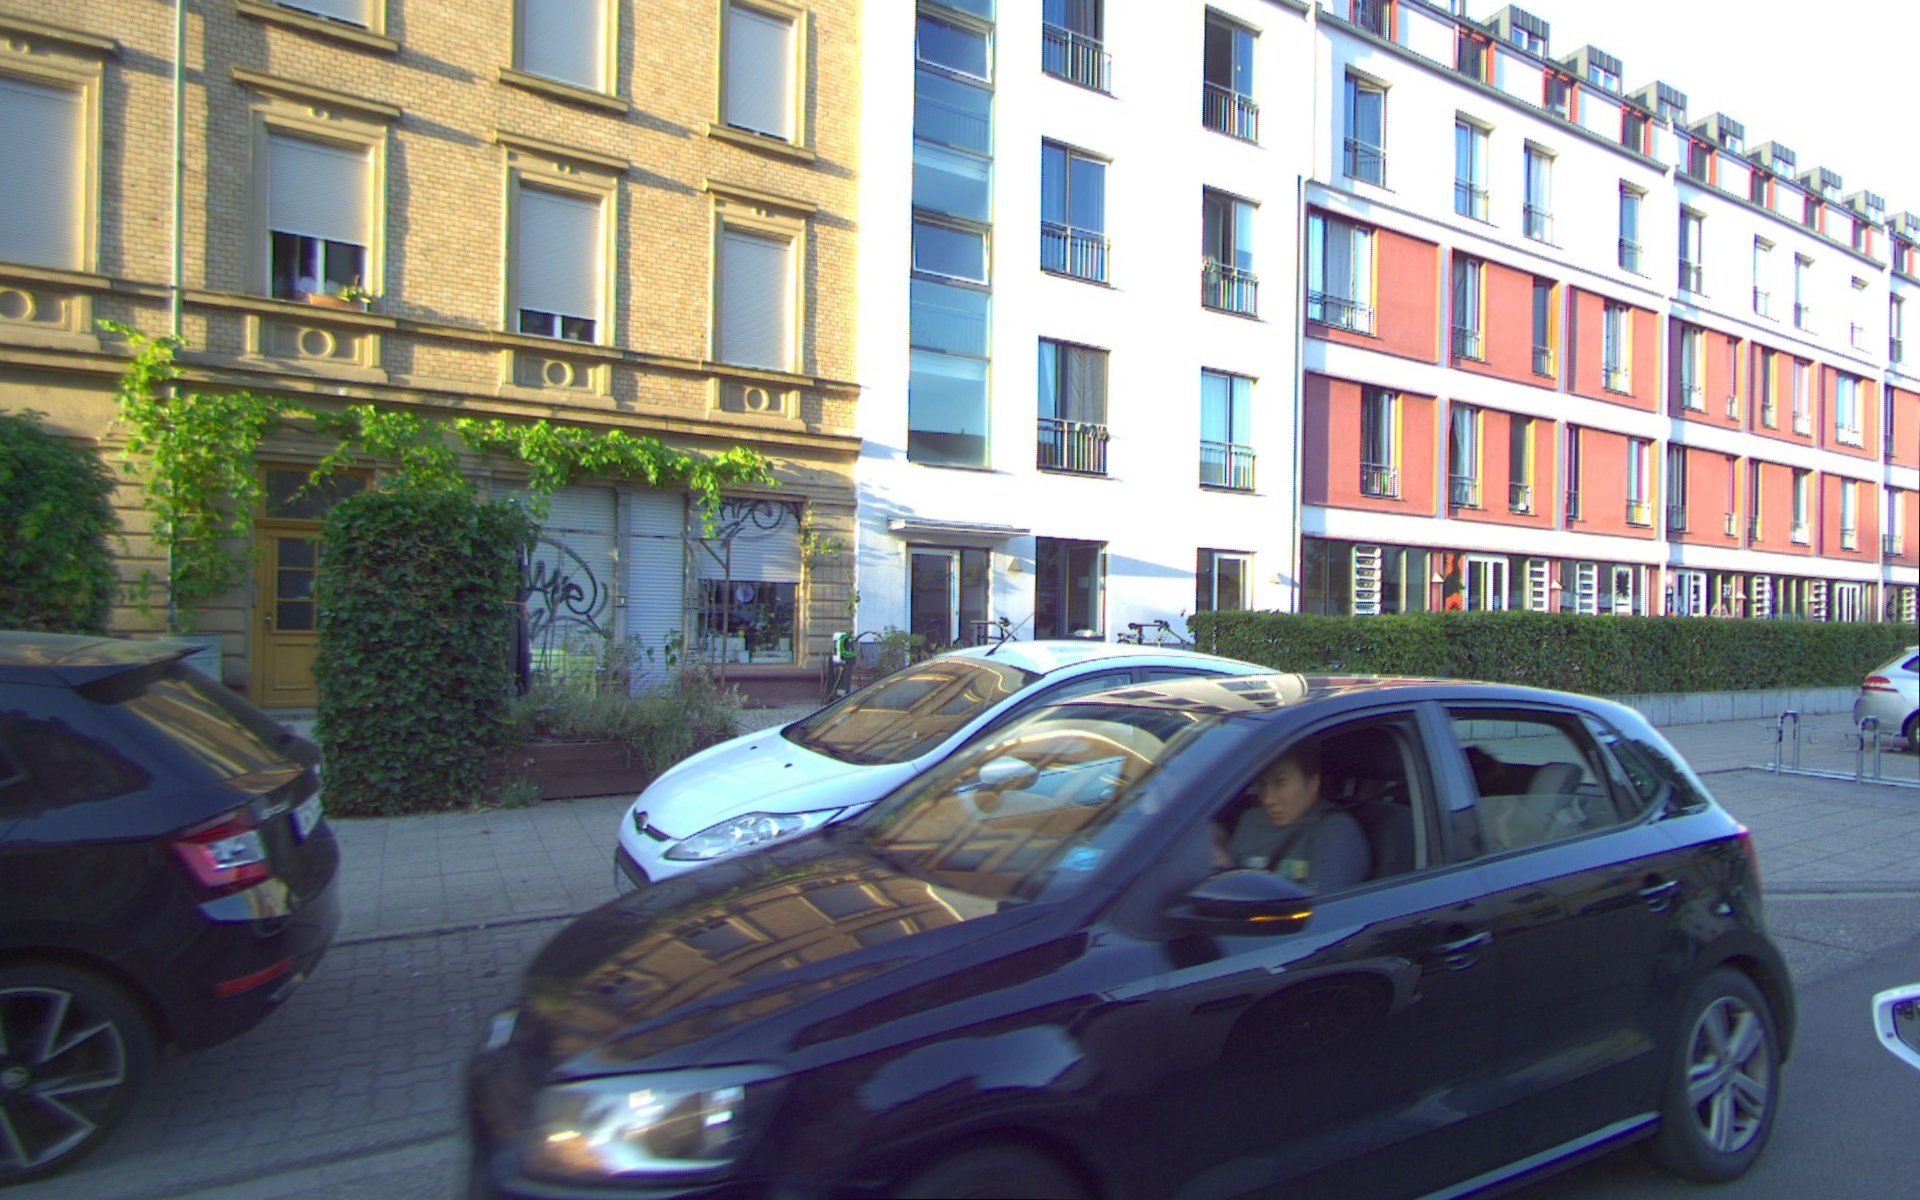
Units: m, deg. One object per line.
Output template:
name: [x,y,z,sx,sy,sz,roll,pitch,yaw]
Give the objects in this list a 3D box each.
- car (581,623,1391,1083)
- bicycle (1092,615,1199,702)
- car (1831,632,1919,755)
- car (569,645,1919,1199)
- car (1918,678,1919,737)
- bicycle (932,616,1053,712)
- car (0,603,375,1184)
car: [0.279,0.941,5.237,3.972,1.550,1.642,2,0,-32]
bicycle: [2.717,0.831,14.913,0.602,1.163,1.770,1,0,-26]
car: [13.459,1.227,11.756,1.860,1.480,4.591,1,0,-31]
car: [0.919,0.898,3.086,3.886,1.474,1.648,1,-4,-24]
car: [15.730,0.722,12.925,1.974,2.619,4.495,1,0,-27]
bicycle: [0.401,0.835,13.748,0.801,1.157,1.908,1,0,-27]
car: [-3.956,0.774,2.926,3.797,1.554,1.696,2,-1,-29]
